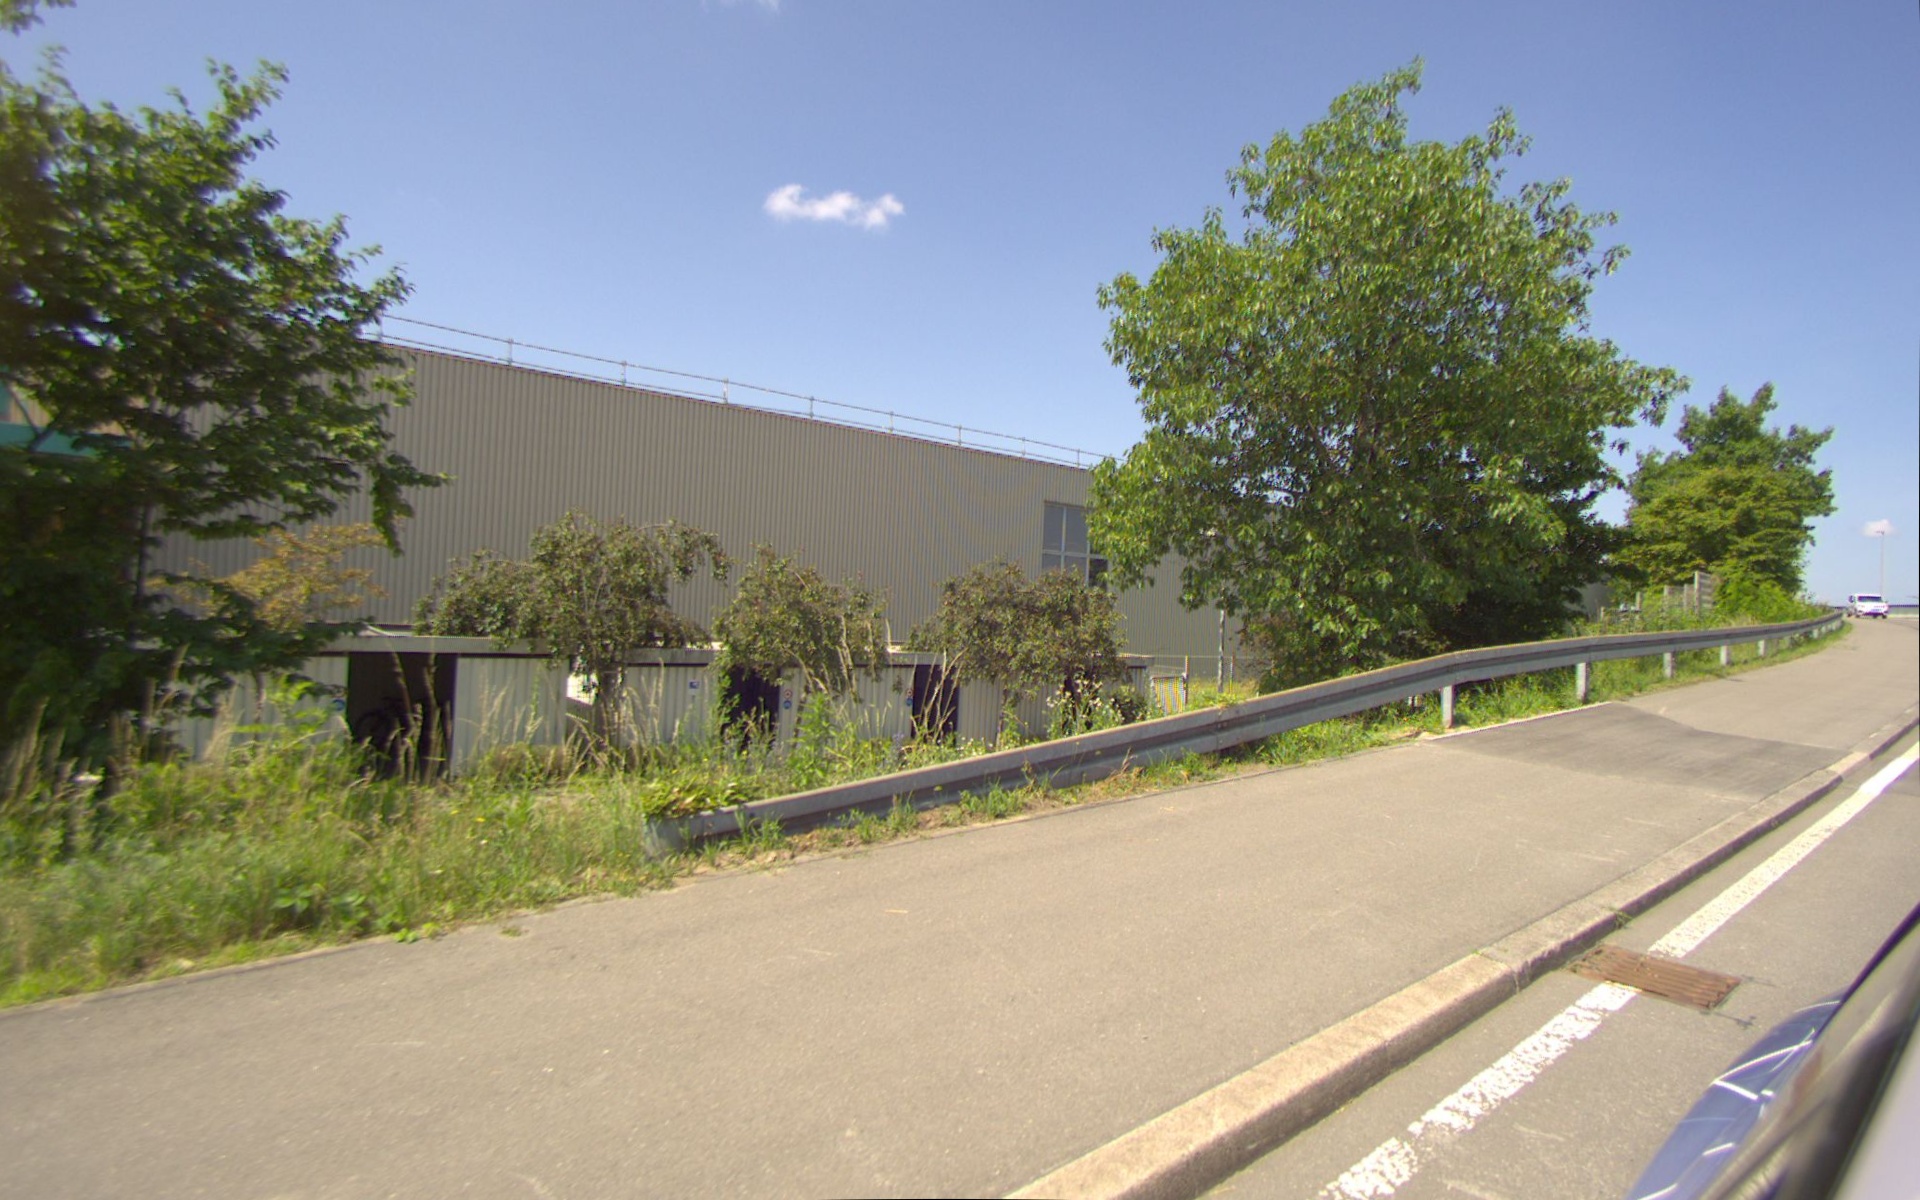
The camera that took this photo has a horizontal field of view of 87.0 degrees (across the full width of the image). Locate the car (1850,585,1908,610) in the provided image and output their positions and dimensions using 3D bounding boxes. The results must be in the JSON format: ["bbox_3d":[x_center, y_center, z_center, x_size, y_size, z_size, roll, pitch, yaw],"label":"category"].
[{"bbox_3d":[68.397,-0.152,75.416,2.073,1.783,4.242,-1,-1,26],"label":"car"}]
